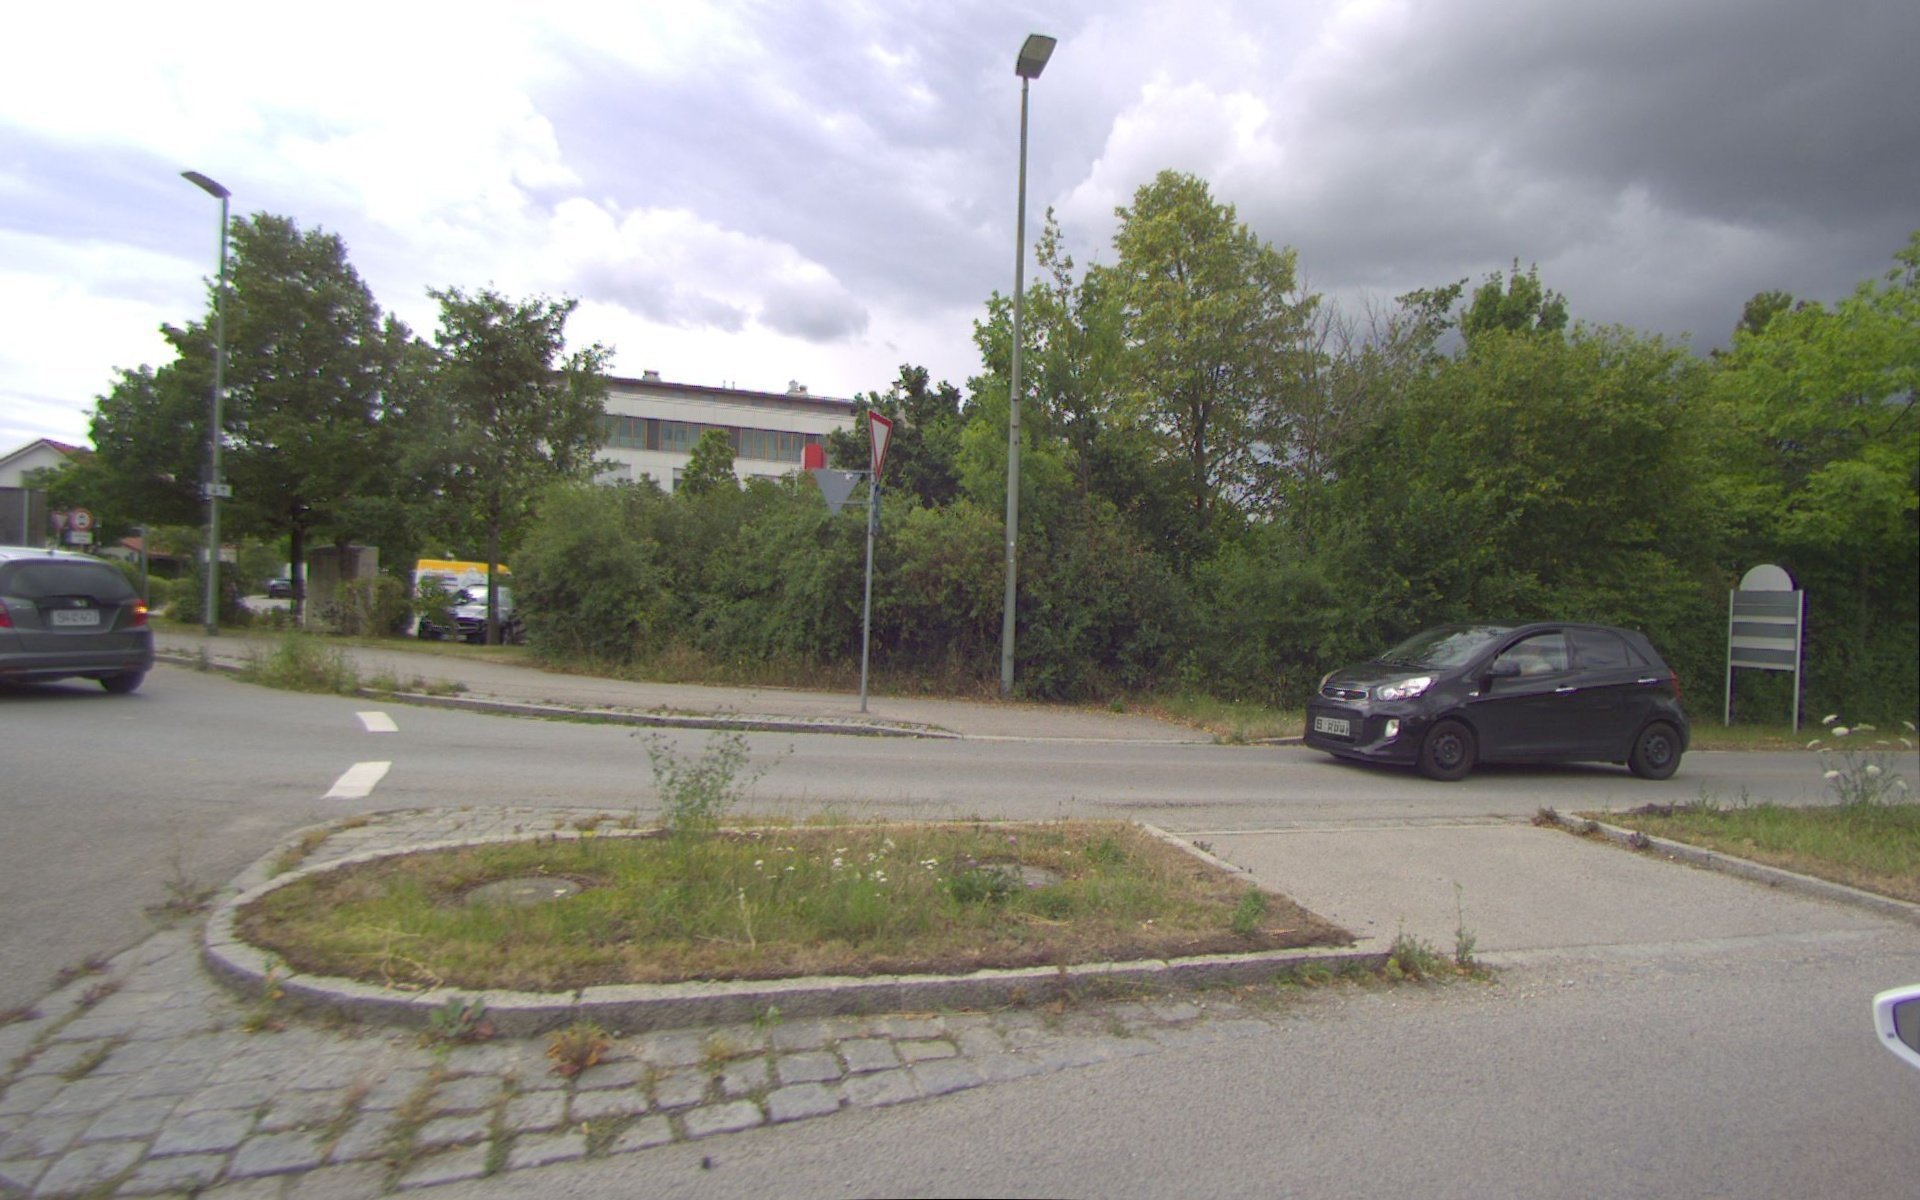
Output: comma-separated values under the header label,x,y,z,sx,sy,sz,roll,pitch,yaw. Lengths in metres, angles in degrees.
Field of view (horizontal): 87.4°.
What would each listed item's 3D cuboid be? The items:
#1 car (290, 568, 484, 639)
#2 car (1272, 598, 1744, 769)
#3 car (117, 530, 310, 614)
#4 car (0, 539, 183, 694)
label,x,y,z,sx,sy,sz,roll,pitch,yaw
car,-11.636,0.041,20.750,1.708,1.288,3.999,2,1,0
car,5.293,0.779,9.872,3.930,1.473,1.684,2,-1,-12
car,-17.942,-0.674,24.159,3.925,1.857,2.128,2,1,26
car,-10.551,0.107,10.675,3.920,1.442,1.688,2,0,18
